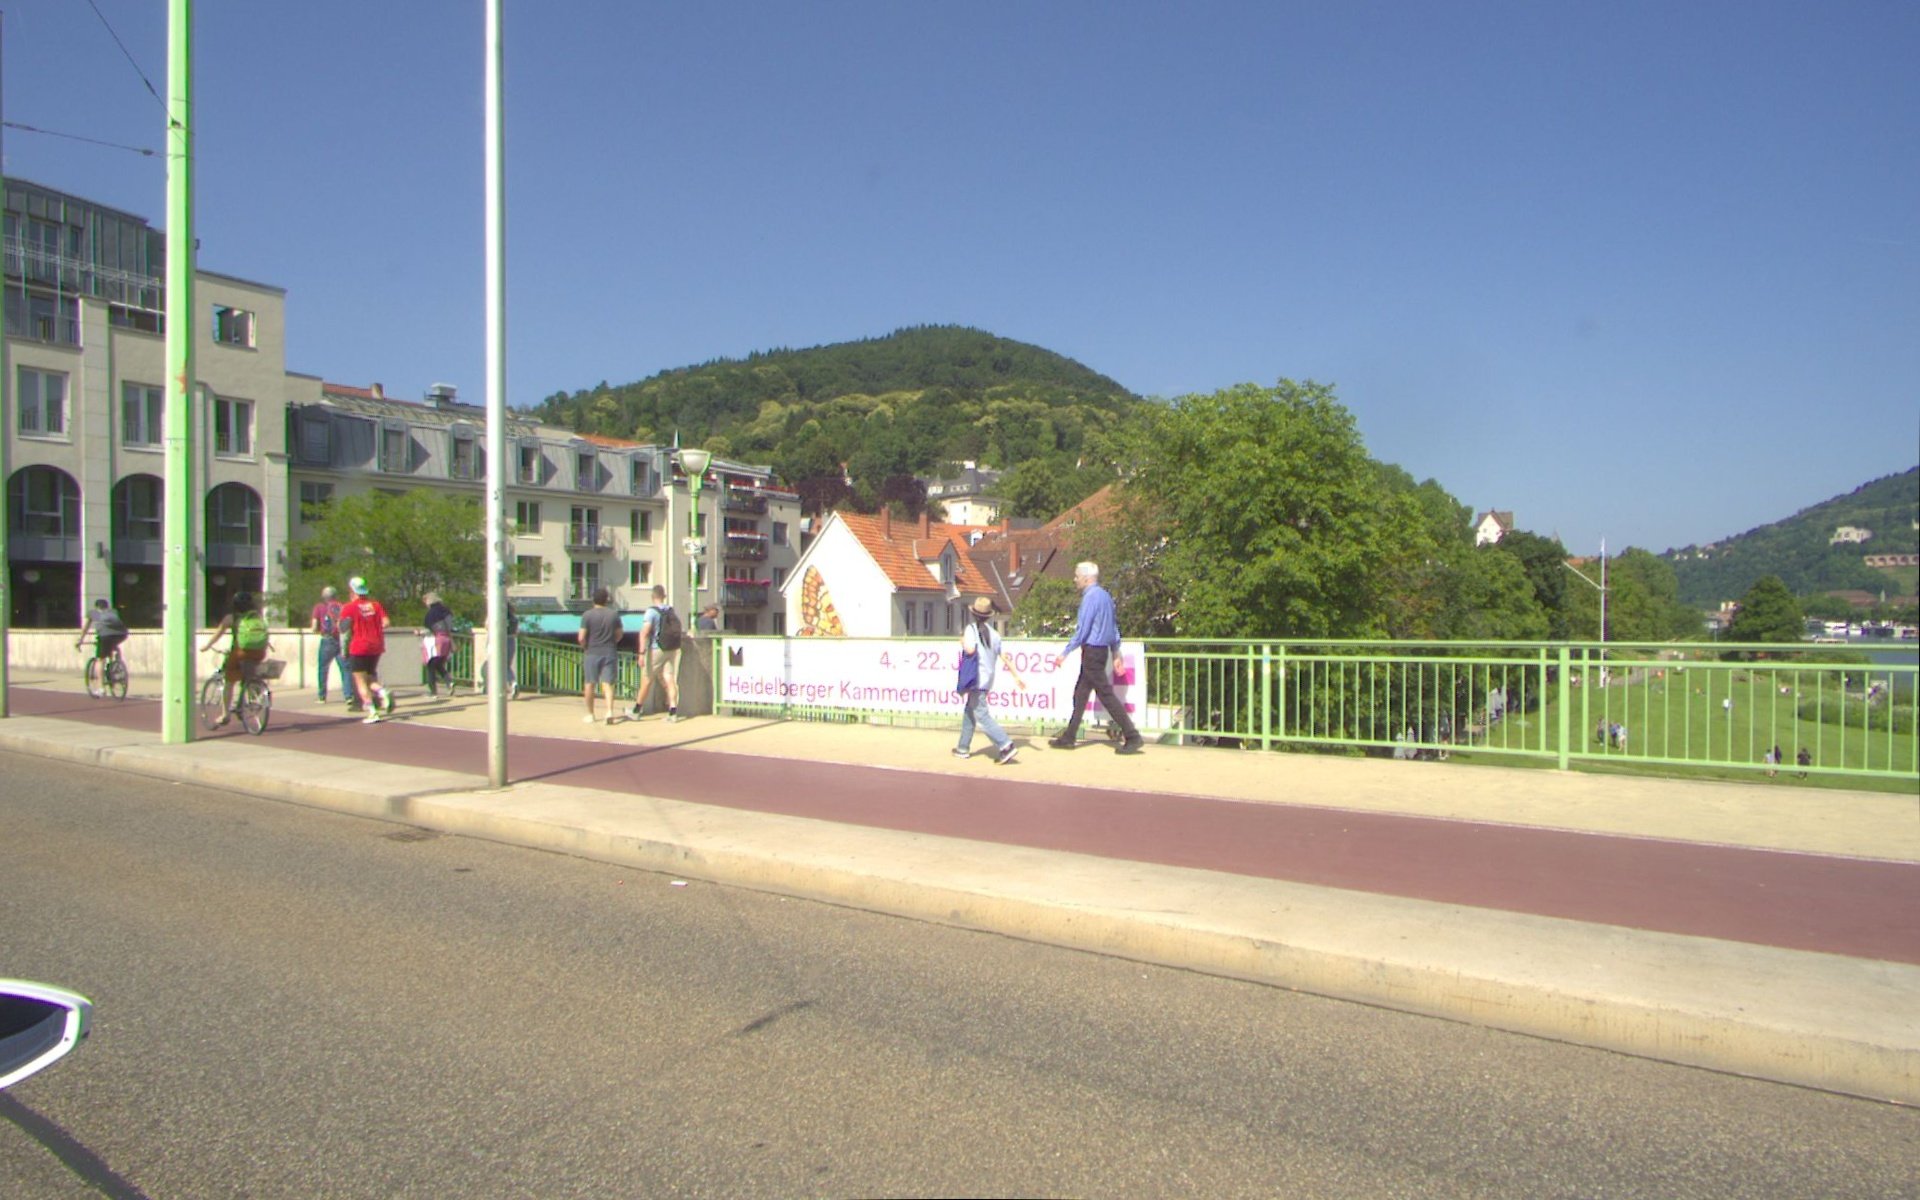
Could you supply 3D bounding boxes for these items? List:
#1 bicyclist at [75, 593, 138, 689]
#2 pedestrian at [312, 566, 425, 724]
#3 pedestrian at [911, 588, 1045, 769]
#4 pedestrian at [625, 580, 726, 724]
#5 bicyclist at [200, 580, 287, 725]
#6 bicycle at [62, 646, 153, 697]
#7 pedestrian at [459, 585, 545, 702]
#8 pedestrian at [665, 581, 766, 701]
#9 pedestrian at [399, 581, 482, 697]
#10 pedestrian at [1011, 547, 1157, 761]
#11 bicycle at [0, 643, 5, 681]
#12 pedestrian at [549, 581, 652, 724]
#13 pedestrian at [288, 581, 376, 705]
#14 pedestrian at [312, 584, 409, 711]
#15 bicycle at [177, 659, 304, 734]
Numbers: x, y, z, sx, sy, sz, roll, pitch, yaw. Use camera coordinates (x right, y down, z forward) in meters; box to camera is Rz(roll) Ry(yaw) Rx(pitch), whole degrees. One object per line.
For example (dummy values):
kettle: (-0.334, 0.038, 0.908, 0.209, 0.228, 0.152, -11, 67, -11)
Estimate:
bicyclist: (-14.499, 0.682, 17.009, 0.691, 1.579, 0.586, 0, 1, 30)
pedestrian: (-7.646, 0.563, 12.954, 1.111, 1.950, 0.809, 0, 1, 32)
pedestrian: (0.175, 0.676, 9.166, 0.919, 1.550, 0.827, 0, 1, 32)
pedestrian: (-3.594, 0.638, 12.665, 1.001, 1.741, 0.738, 0, 0, 32)
bicyclist: (-8.537, 0.609, 11.939, 0.692, 1.672, 0.603, 0, 1, 33)
bicycle: (-14.508, 1.198, 17.022, 1.804, 0.776, 0.593, -1, 1, 30)
pedestrian: (-7.211, 0.666, 15.784, 1.000, 1.770, 0.738, 0, 1, 29)
pedestrian: (-3.833, 0.617, 15.788, 0.965, 1.801, 1.202, 0, 1, 27)
pedestrian: (-8.413, 0.610, 16.223, 1.001, 1.801, 0.737, 0, 1, 32)
pedestrian: (1.207, 0.495, 9.683, 1.121, 1.923, 0.924, 0, 1, 32)
bicycle: (-20.617, 1.288, 20.829, 1.838, 0.776, 0.593, -1, 1, 30)
pedestrian: (-4.586, 0.641, 12.784, 1.001, 1.741, 0.737, 0, 1, 32)
pedestrian: (-9.621, 0.637, 15.355, 1.001, 1.826, 0.737, 0, 1, 32)
pedestrian: (-8.577, 0.653, 14.338, 1.058, 1.741, 0.753, 0, 1, 32)
bicycle: (-8.669, 1.138, 12.040, 1.840, 0.776, 0.592, -1, 1, 33)
